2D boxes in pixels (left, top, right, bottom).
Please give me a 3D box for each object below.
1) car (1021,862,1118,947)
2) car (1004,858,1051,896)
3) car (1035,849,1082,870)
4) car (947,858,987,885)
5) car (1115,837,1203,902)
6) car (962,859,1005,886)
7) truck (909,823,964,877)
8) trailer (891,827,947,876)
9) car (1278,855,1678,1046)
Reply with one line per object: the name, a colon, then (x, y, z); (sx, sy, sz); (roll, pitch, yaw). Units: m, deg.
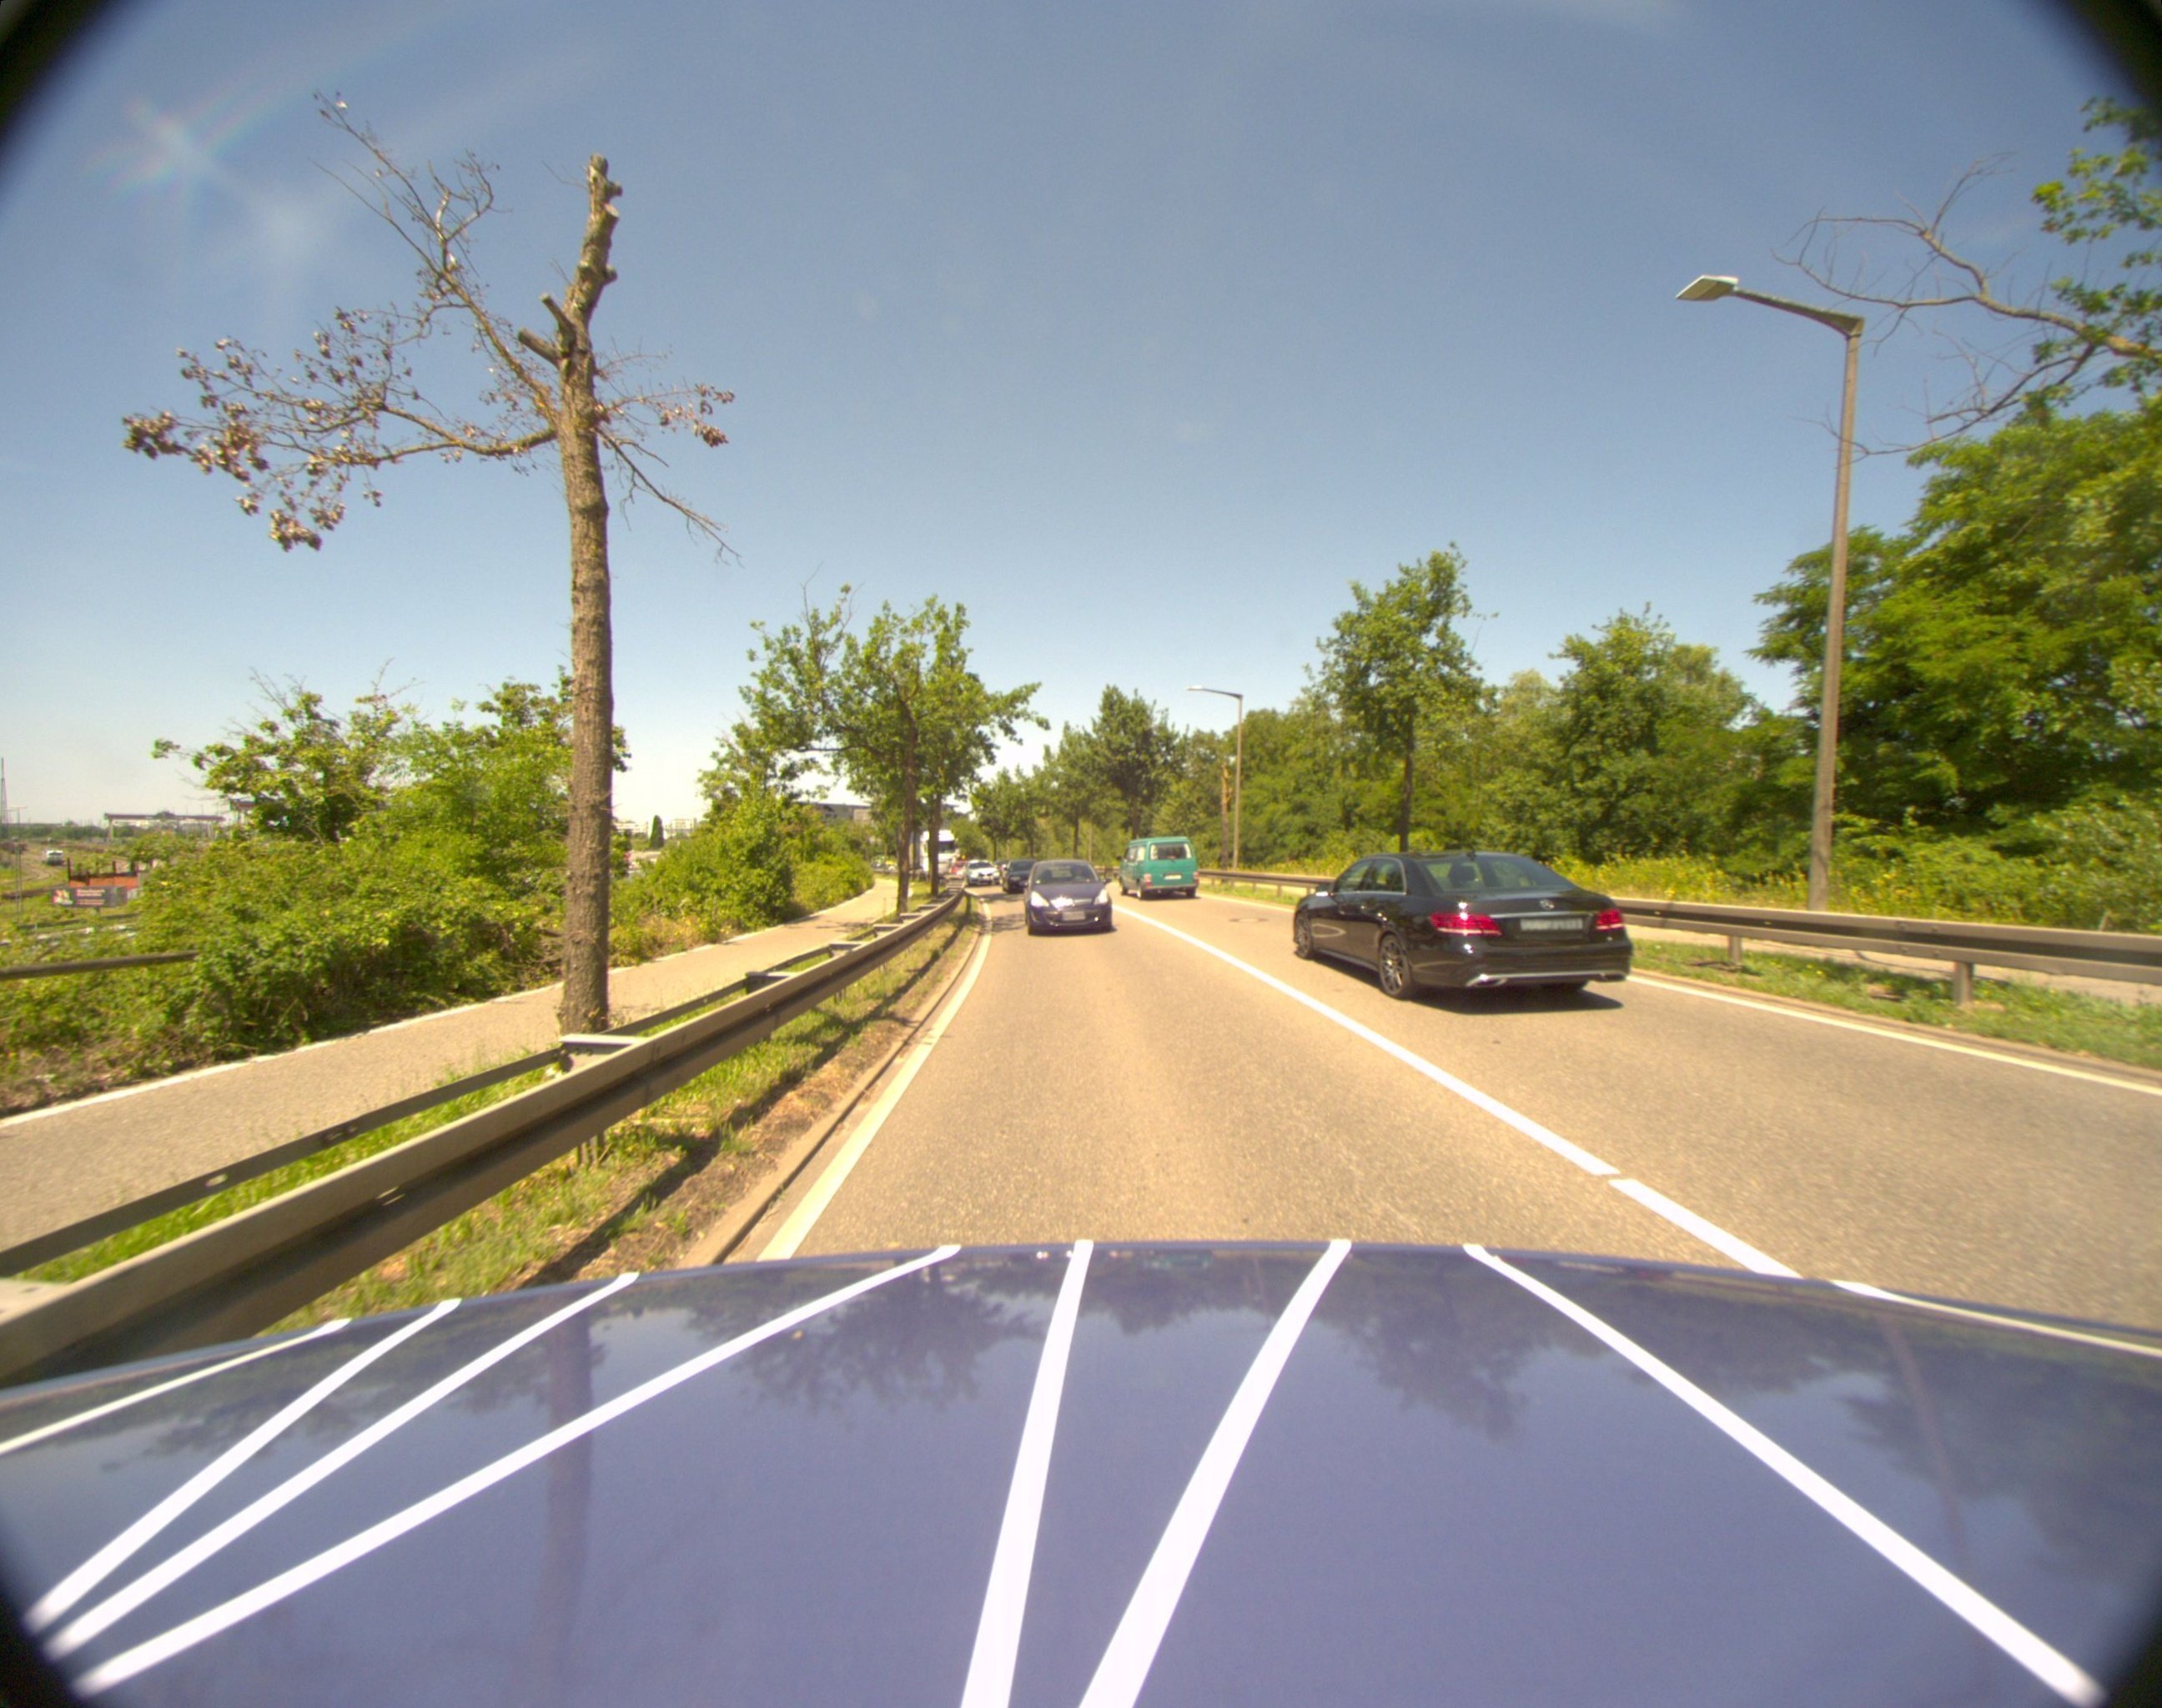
car: (-0.378, 0.944, 16.231); (1.699, 1.459, 4.381); (-2, 0, -5)
car: (-2.312, 0.920, 31.862); (1.570, 1.408, 4.119); (-2, 0, -9)
car: (-1.687, 0.418, 55.355); (1.752, 1.439, 4.508); (-2, 0, -24)
car: (-8.148, 1.197, 54.039); (1.903, 1.645, 4.249); (-2, 2, -20)
car: (2.517, 0.472, 25.726); (1.836, 1.927, 4.772); (-2, 0, -8)
car: (-5.578, 1.001, 42.977); (1.819, 1.419, 3.710); (-2, 0, -16)
truck: (-12.367, -0.296, 64.227); (2.862, 4.244, 8.800); (-2, 0, -21)
trailer: (-15.813, -0.174, 73.030); (2.885, 4.189, 13.983); (-2, 0, -21)
car: (3.831, 0.777, 8.507); (1.851, 1.459, 4.740); (-2, 0, -2)
